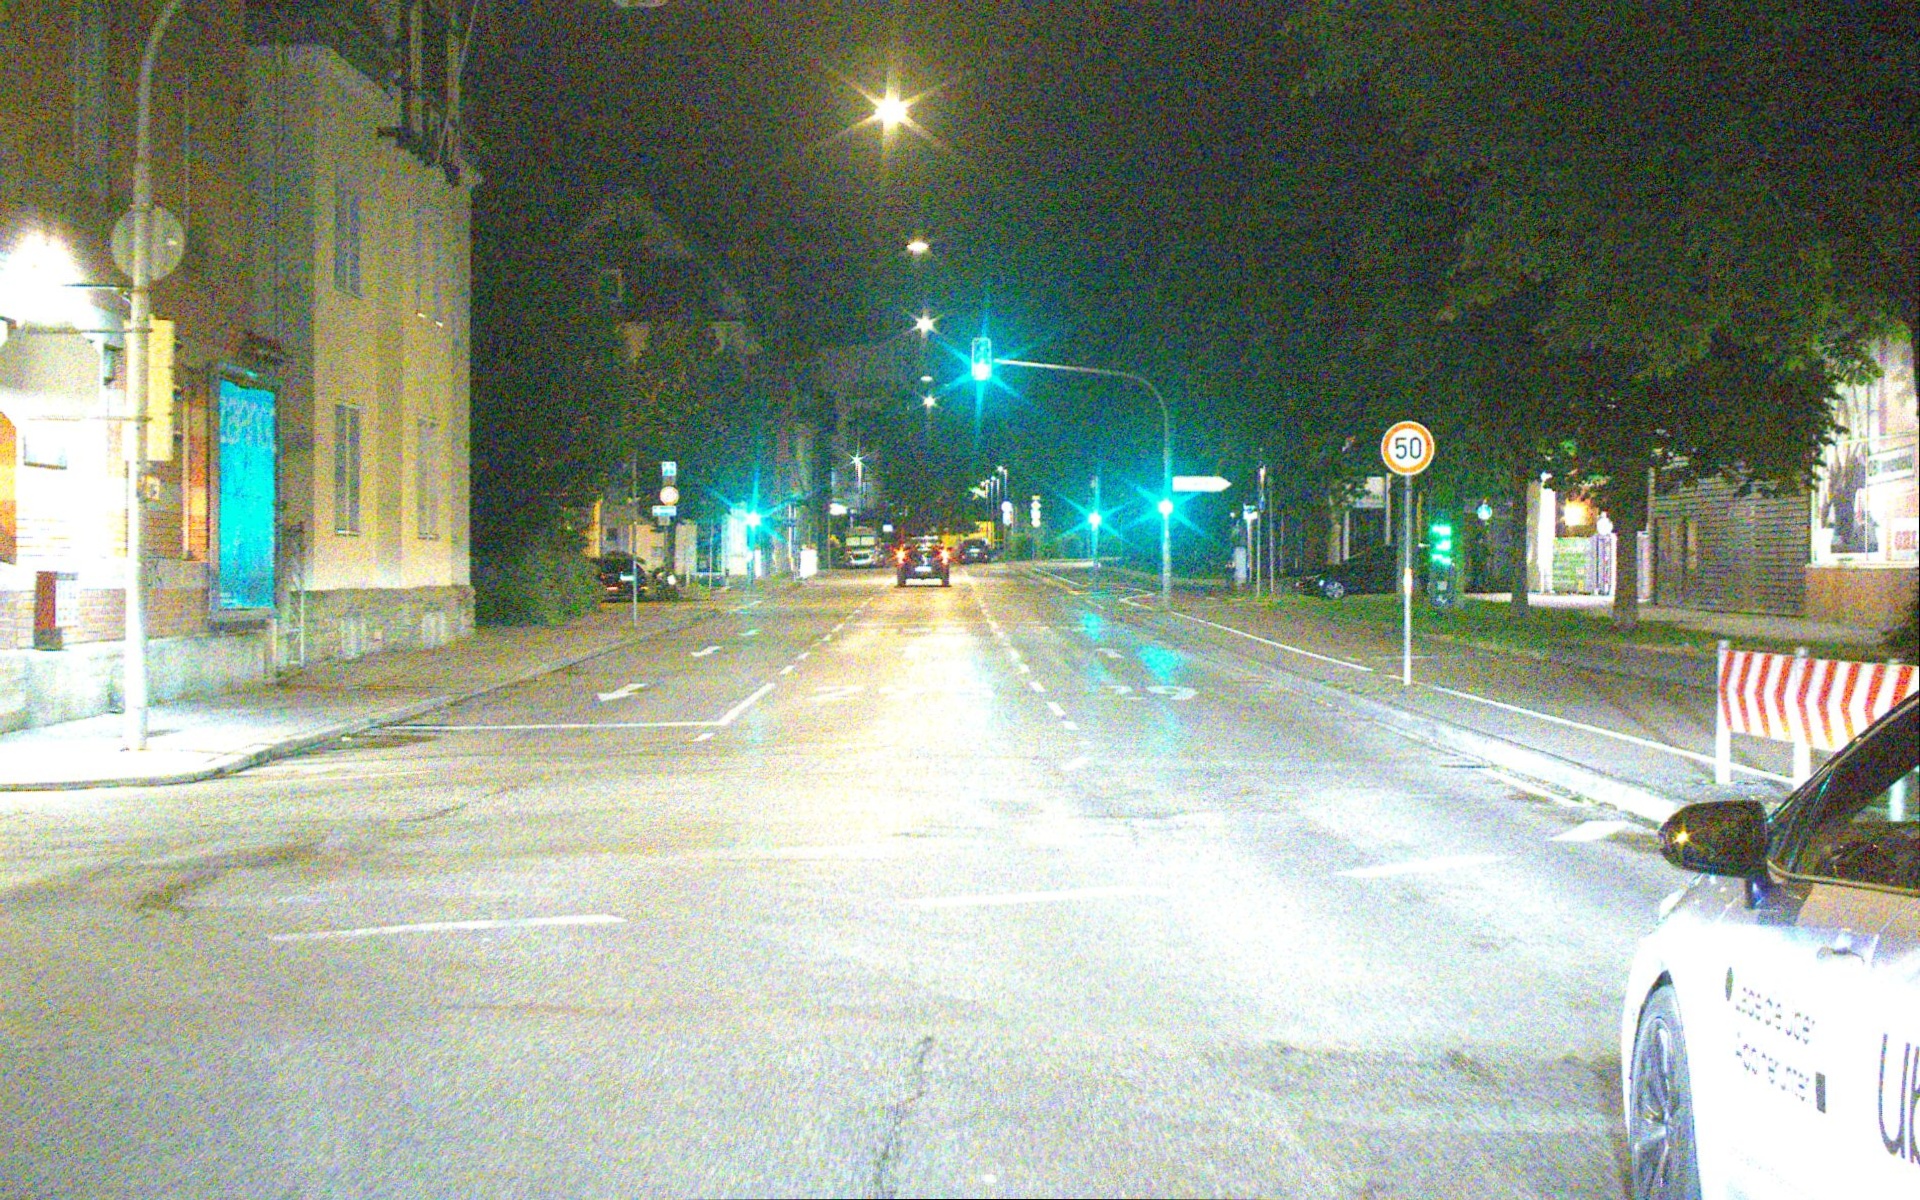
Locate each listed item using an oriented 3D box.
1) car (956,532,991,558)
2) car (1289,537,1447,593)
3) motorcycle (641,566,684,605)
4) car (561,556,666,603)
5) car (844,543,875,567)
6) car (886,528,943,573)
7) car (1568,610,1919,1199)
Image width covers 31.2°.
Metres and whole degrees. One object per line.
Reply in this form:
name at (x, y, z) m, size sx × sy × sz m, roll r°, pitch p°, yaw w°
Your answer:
car at (0.826, -3.442, 216.958) m, size 1.993 × 1.590 × 4.001 m, roll -1°, pitch 1°, yaw -3°
car at (10.639, -0.919, 89.821) m, size 3.987 × 1.382 × 1.771 m, roll -1°, pitch 1°, yaw 3°
motorcycle at (-9.418, -0.465, 108.739) m, size 0.781 × 1.200 × 2.450 m, roll -1°, pitch 1°, yaw -19°
car at (-11.252, -0.680, 111.529) m, size 1.803 × 1.481 × 4.000 m, roll -1°, pitch 1°, yaw -32°
car at (-5.920, -2.679, 202.411) m, size 1.777 × 1.385 × 4.001 m, roll -1°, pitch 1°, yaw -2°
car at (-1.693, -1.806, 125.909) m, size 1.993 × 1.634 × 4.000 m, roll 0°, pitch 1°, yaw -2°
car at (2.316, 0.794, 5.677) m, size 1.729 × 1.430 × 4.211 m, roll 2°, pitch 1°, yaw -2°
